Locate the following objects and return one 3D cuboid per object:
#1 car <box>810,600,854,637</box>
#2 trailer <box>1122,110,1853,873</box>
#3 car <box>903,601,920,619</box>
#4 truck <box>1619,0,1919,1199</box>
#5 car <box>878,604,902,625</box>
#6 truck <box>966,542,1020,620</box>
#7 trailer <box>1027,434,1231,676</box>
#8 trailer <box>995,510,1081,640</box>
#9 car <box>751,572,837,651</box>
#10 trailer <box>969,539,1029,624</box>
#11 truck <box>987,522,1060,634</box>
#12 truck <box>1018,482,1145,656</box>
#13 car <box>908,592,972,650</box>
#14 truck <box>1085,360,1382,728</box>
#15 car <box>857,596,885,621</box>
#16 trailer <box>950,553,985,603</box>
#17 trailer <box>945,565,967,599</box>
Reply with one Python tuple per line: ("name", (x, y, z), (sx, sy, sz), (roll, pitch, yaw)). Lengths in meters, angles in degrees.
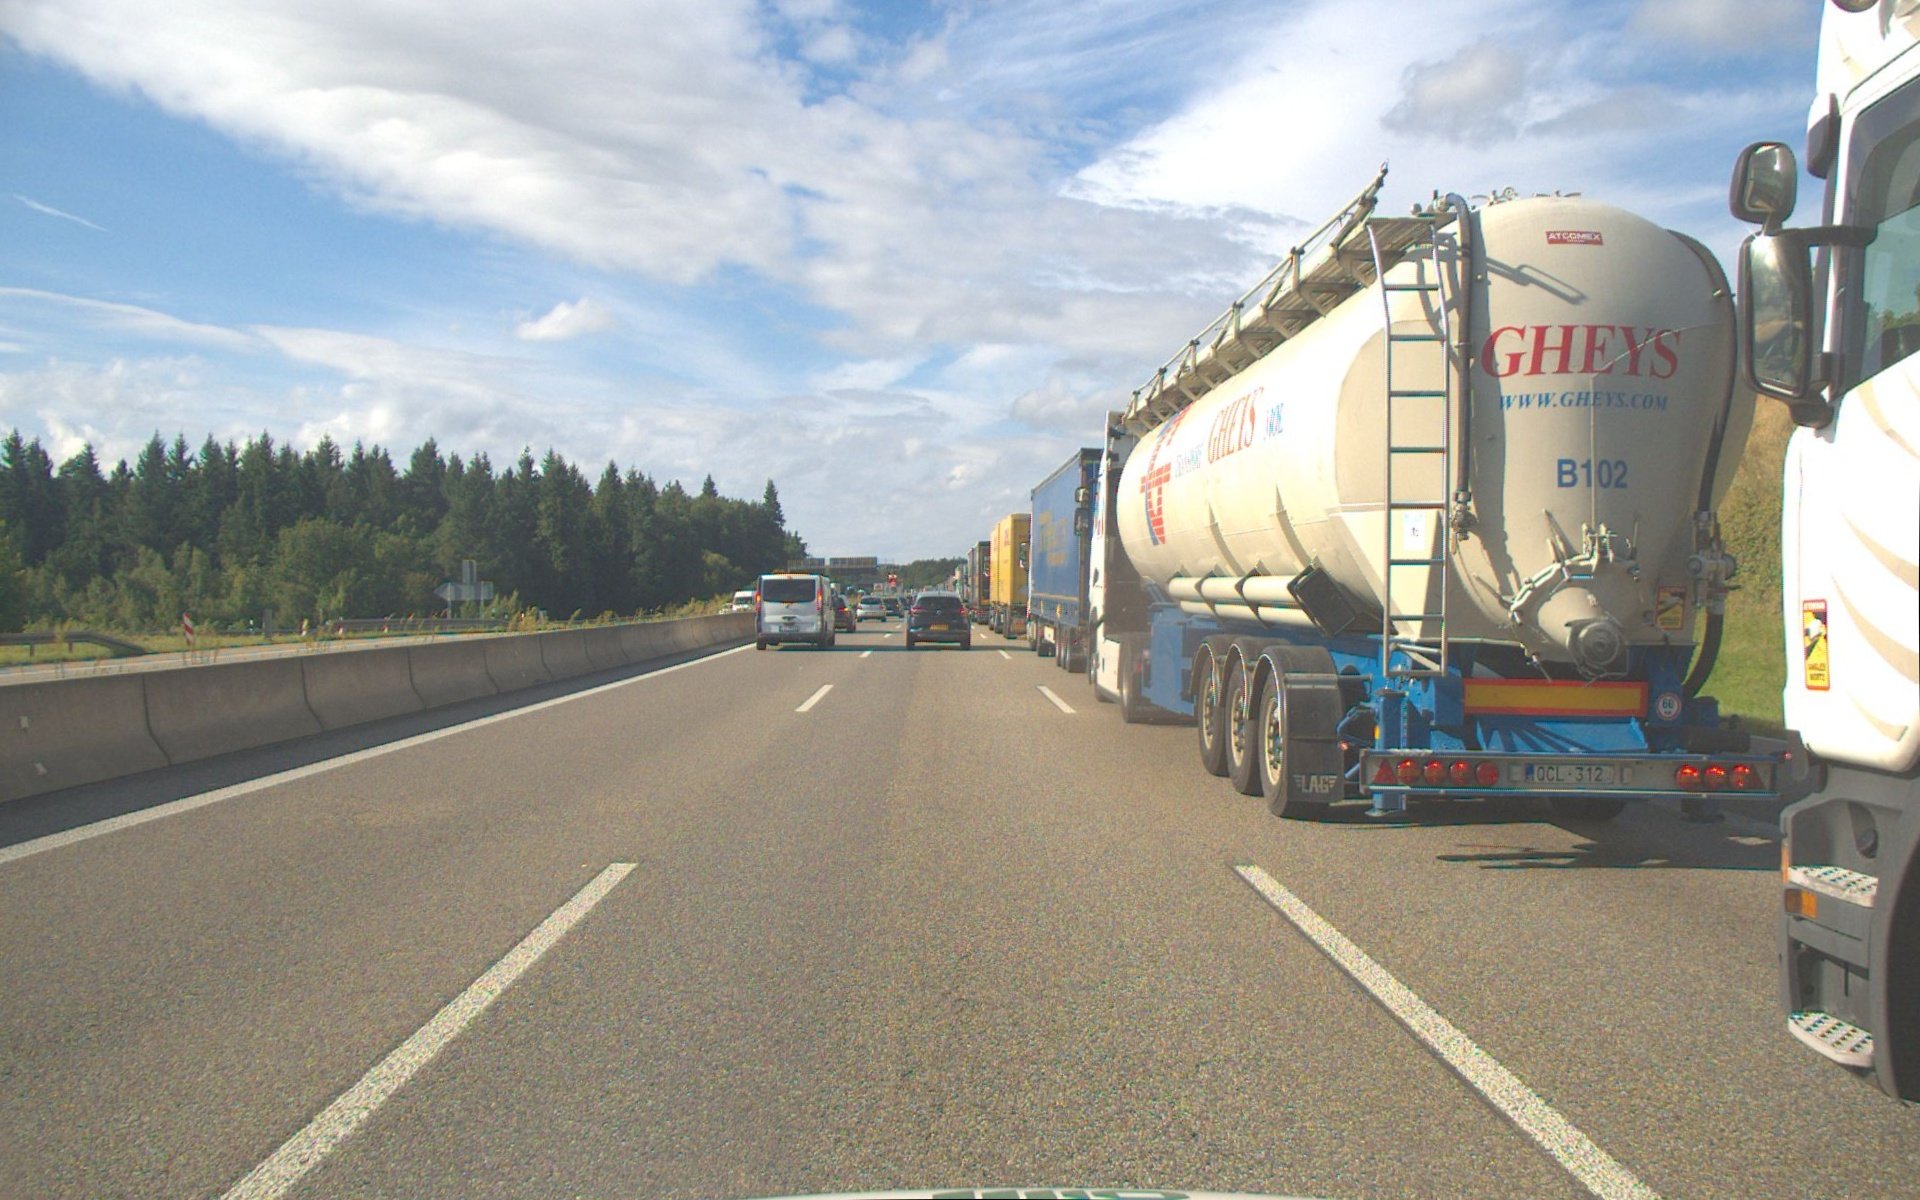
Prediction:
("car", (-5.010, 0.709, 65.008), (1.469, 1.420, 3.475), (1, 0, -1))
("trailer", (3.351, -0.589, 14.346), (2.592, 4.003, 11.173), (1, 0, -1))
("car", (-3.964, 0.802, 136.496), (1.333, 1.420, 3.084), (1, 0, -1))
("truck", (3.267, -0.558, 2.131), (2.317, 4.091, 6.104), (0, 0, -1))
("car", (-4.840, 1.011, 114.578), (1.549, 1.420, 3.207), (1, 0, -1))
("truck", (1.801, -0.997, 93.681), (2.685, 4.109, 10.201), (1, 0, -1))
("trailer", (3.236, -0.766, 35.829), (2.589, 4.169, 13.975), (1, 0, -2))
("trailer", (2.594, -0.814, 57.280), (2.363, 4.139, 8.925), (1, 0, -1))
("car", (-4.493, 0.302, 45.401), (1.893, 2.013, 5.097), (1, 0, -1))
("trailer", (1.918, -0.933, 84.268), (2.661, 4.030, 8.709), (1, 0, -1))
("truck", (2.442, -0.844, 66.603), (2.363, 4.139, 9.662), (1, 0, -1))
("truck", (3.036, -0.736, 43.106), (2.595, 4.161, 6.489), (1, 0, -2))
("car", (-0.560, 0.568, 46.085), (1.662, 1.509, 4.159), (1, 0, -1))
("truck", (3.265, -0.598, 21.582), (2.595, 3.993, 6.940), (1, 0, -1))
("car", (-5.074, 0.476, 94.736), (1.469, 1.420, 3.475), (1, 0, -1))
("trailer", (0.580, -1.744, 138.326), (2.607, 3.936, 13.392), (-2, 0, -1))
("trailer", (-0.482, -2.389, 226.395), (2.745, 4.318, 11.056), (-3, 0, 0))
